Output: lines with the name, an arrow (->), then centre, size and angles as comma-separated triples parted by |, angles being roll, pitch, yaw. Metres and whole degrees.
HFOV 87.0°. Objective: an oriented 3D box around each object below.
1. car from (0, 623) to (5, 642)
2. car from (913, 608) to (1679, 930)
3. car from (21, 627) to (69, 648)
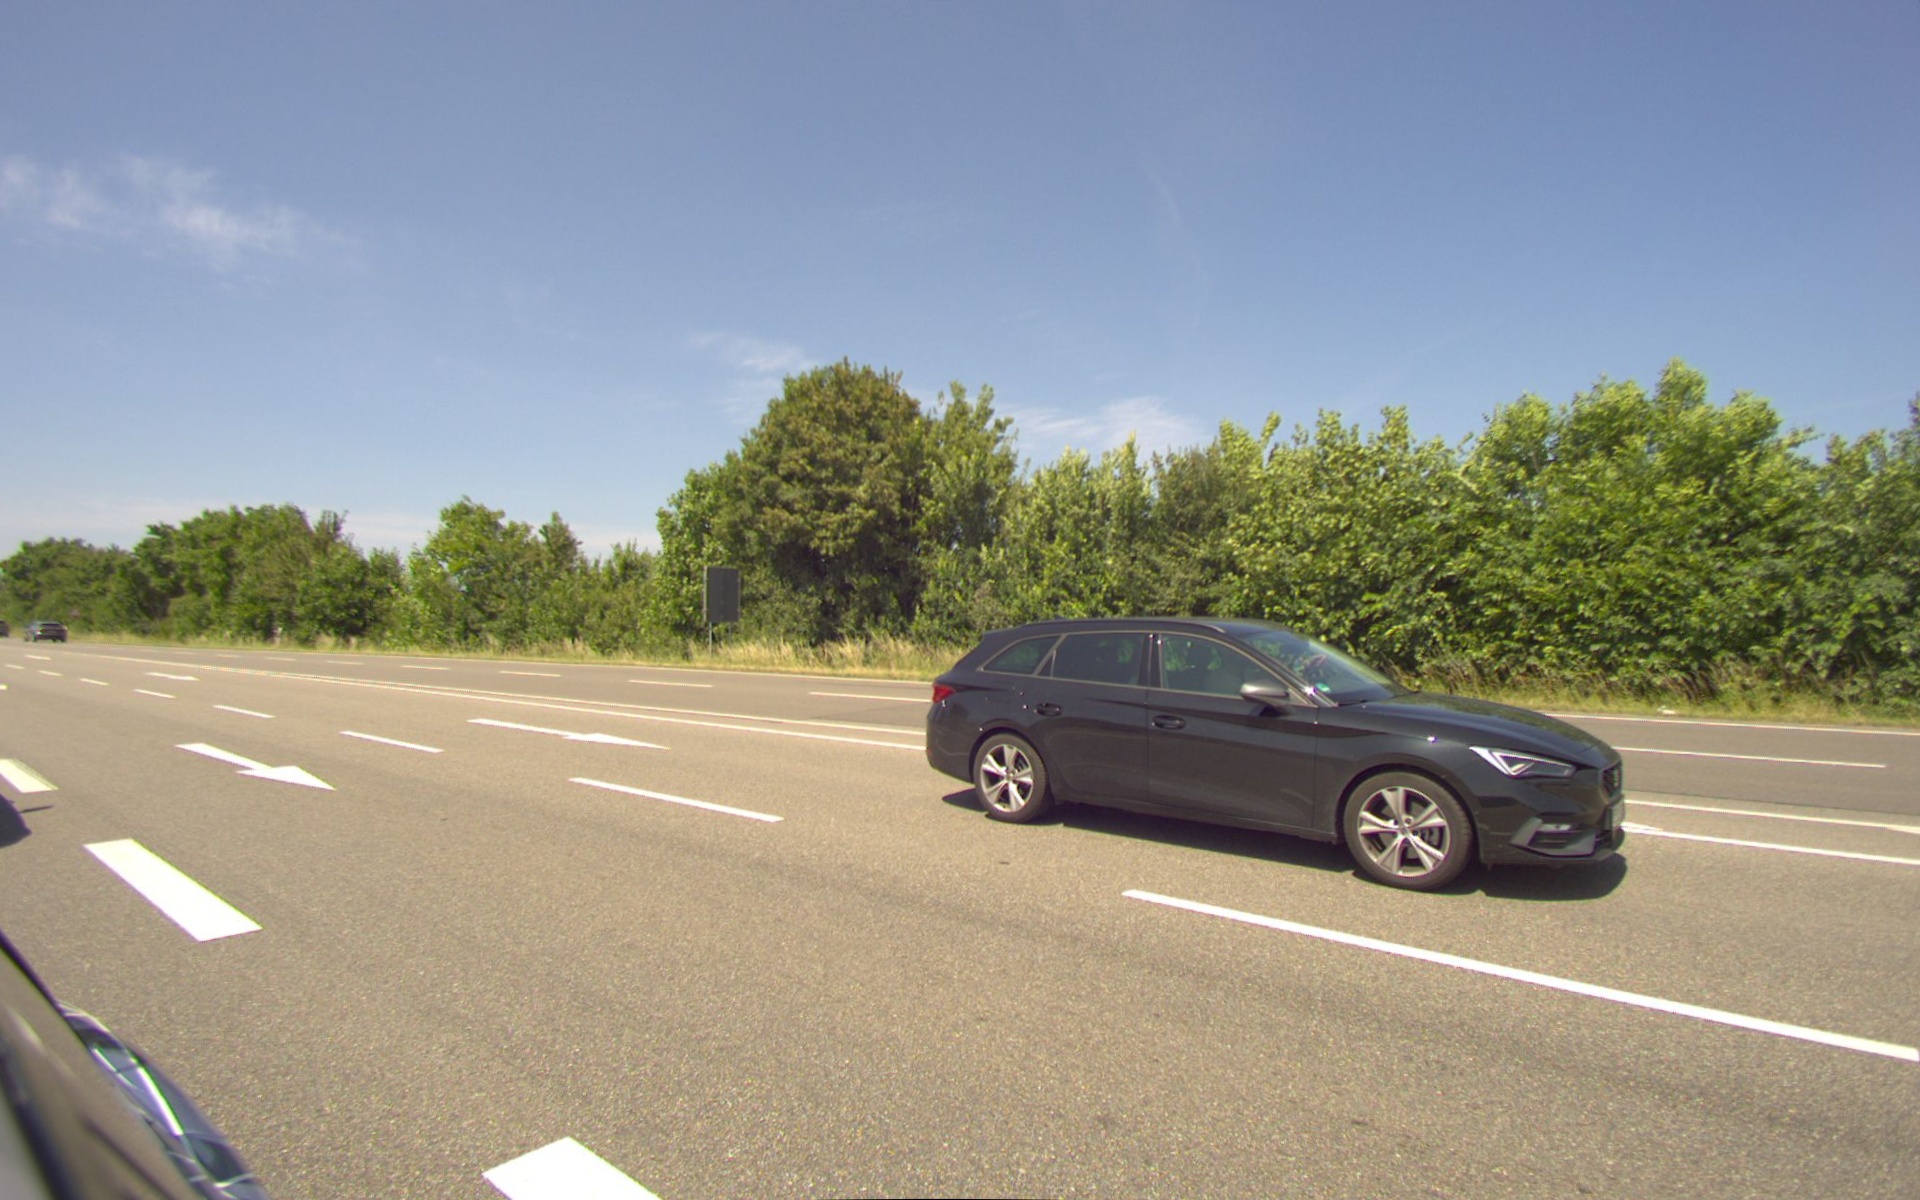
car -> -87.260, 2.899, 90.582 | 4.563, 1.652, 2.008 | -1, -1, 38
car -> 1.957, 0.808, 6.801 | 4.524, 1.458, 1.869 | -1, -1, 41
car -> -65.209, 2.671, 72.071 | 4.526, 1.409, 1.860 | -1, -1, 39
